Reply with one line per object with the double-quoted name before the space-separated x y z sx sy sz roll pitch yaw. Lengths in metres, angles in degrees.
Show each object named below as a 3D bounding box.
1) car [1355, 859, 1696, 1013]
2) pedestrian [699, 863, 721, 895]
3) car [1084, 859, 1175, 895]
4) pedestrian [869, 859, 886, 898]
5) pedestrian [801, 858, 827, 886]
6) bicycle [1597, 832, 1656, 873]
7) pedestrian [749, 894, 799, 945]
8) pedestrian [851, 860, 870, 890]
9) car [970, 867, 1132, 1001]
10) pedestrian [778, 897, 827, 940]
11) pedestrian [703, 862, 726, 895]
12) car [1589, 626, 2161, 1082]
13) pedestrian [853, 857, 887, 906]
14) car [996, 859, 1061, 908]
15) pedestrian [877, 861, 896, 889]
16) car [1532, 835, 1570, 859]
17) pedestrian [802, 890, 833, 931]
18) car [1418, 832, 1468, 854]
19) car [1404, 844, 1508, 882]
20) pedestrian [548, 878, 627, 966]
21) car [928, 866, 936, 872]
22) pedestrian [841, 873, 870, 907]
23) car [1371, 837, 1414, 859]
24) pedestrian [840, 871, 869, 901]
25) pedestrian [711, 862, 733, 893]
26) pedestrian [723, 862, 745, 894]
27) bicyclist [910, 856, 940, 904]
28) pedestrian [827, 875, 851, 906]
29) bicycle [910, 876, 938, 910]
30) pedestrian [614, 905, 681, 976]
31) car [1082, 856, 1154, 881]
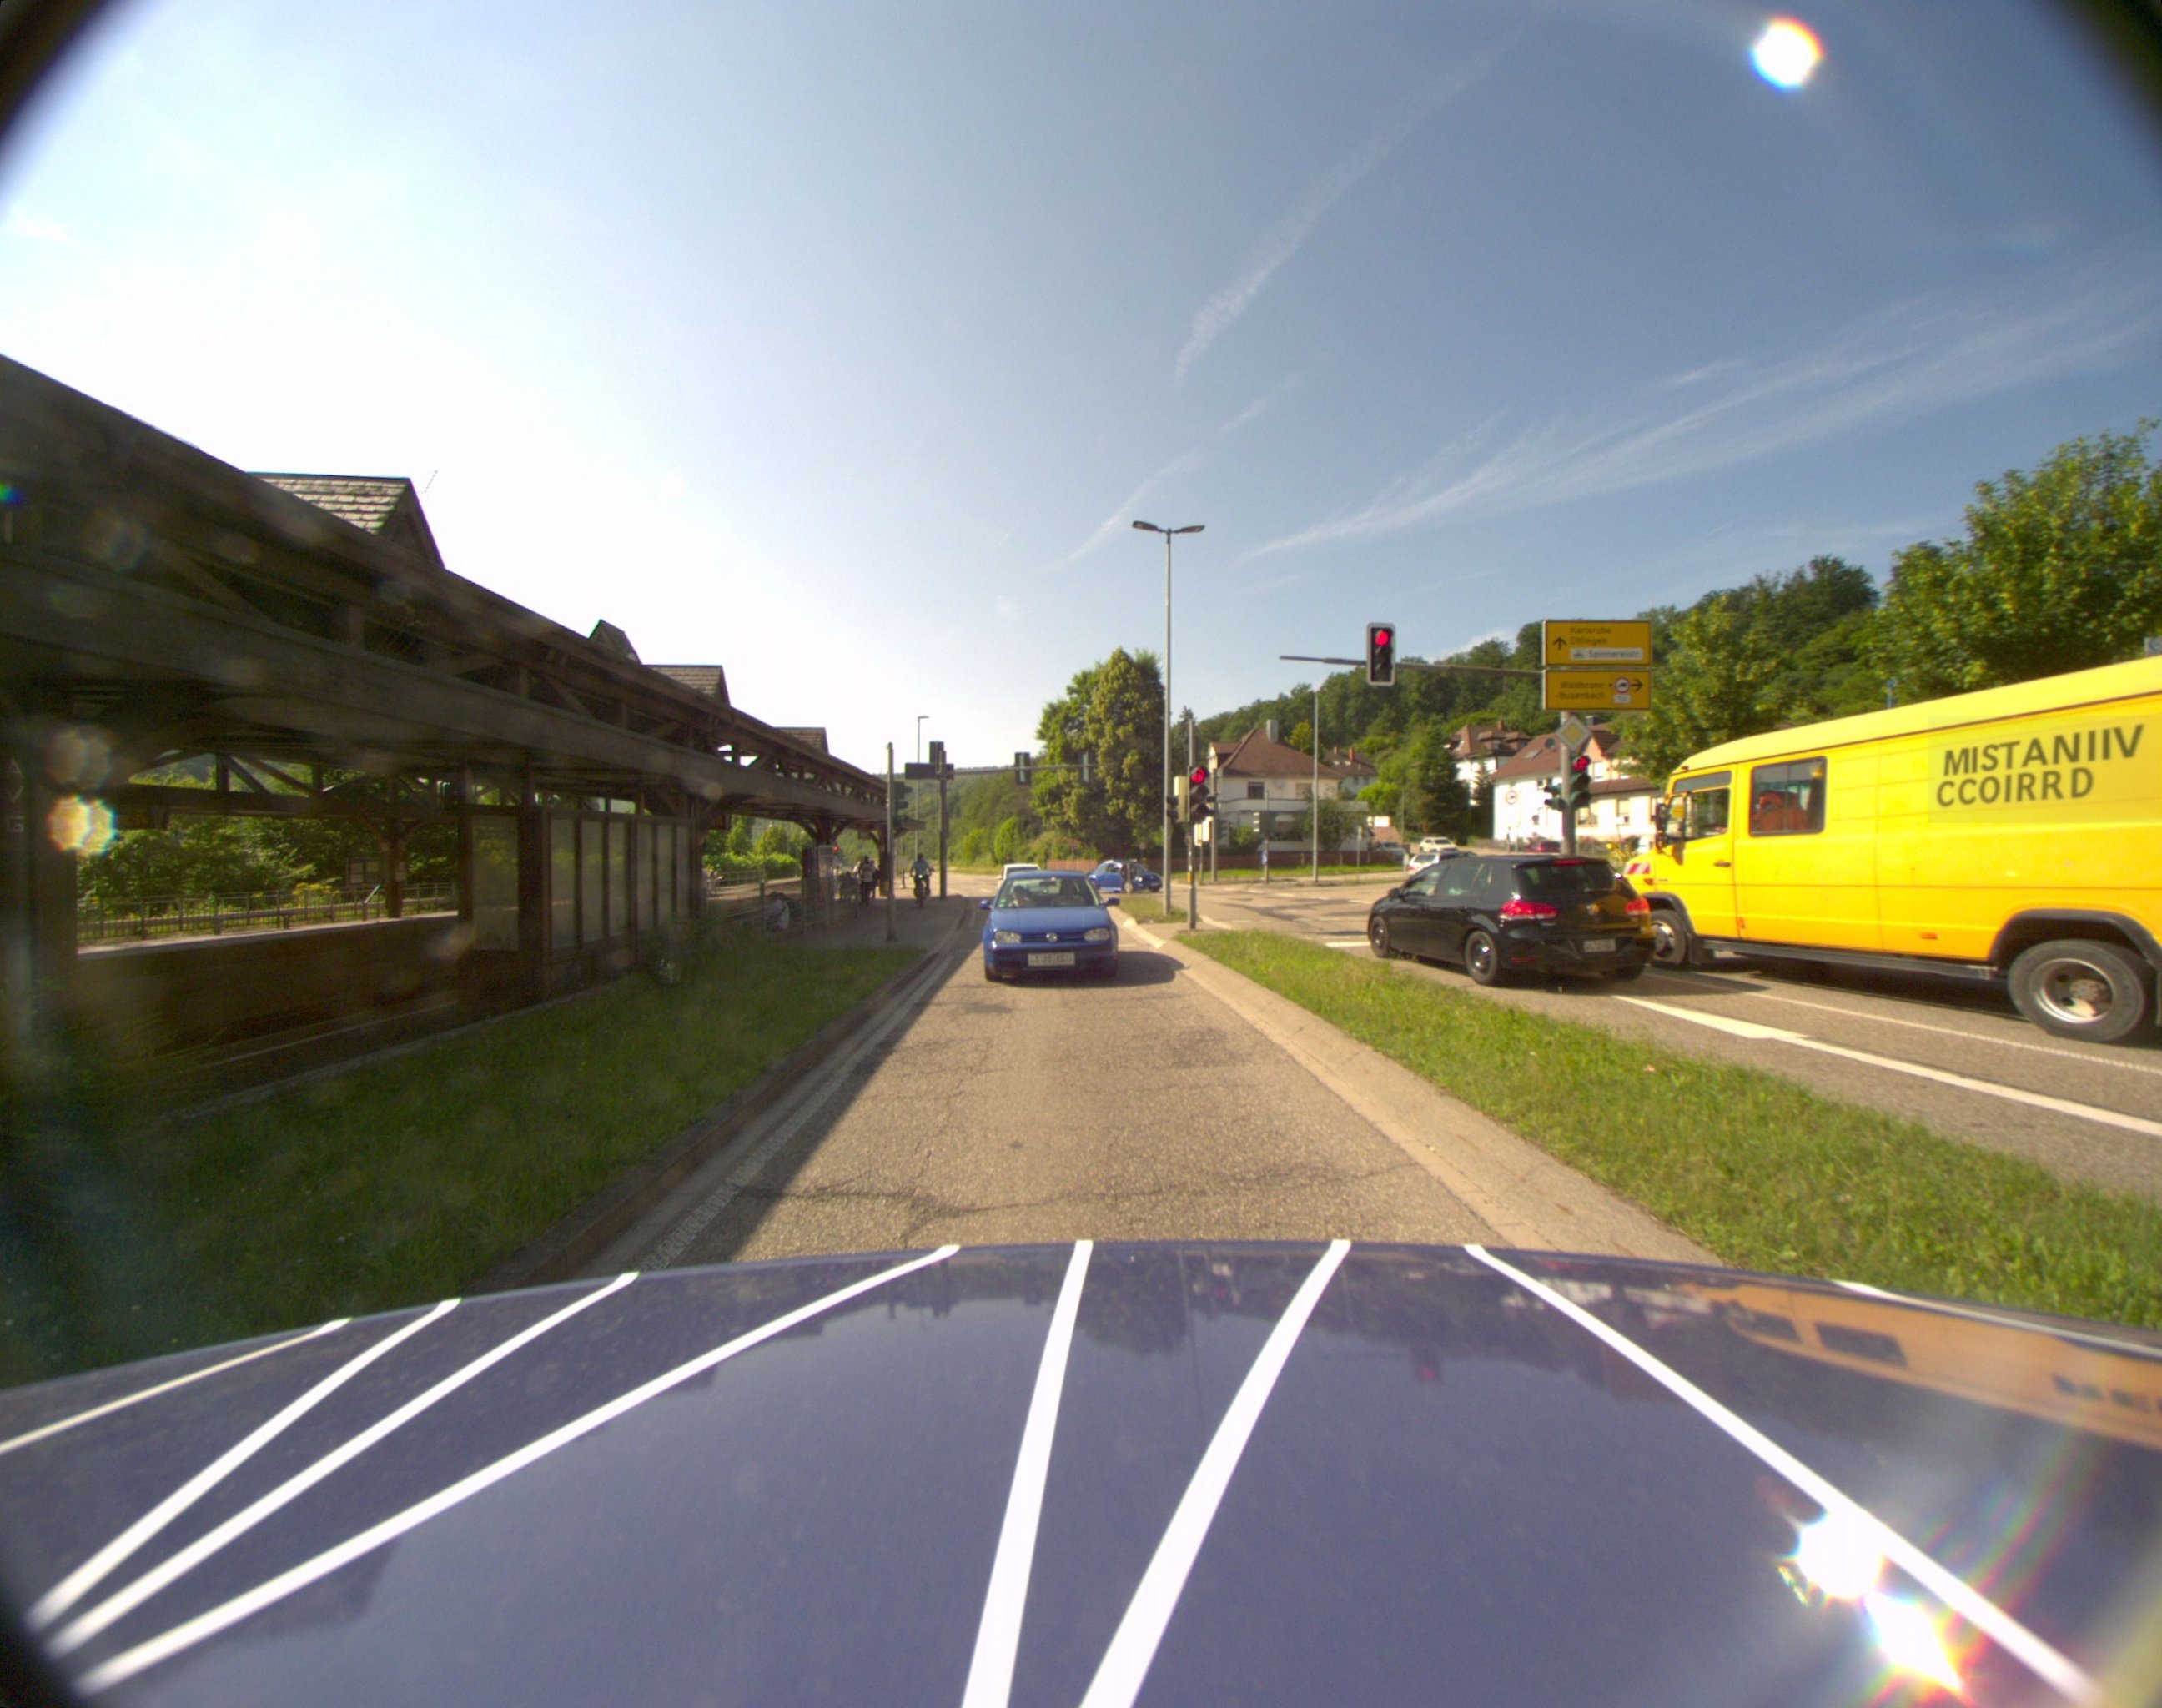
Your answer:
"car" 5.106 0.819 9.482 1.750 1.454 4.042 -1 0 -3
"pedestrian" -21.772 1.473 44.612 0.904 1.838 0.822 -3 -1 -11
"car" 2.206 1.031 35.132 1.984 1.495 3.976 -1 0 -39
"pedestrian" -8.885 1.061 33.148 0.659 1.682 0.738 -1 0 -13
"pedestrian" -16.583 1.101 47.275 0.901 1.674 1.126 -3 -1 29
"bicycle" 18.299 -0.027 25.524 0.620 1.247 1.758 -6 -2 2
"pedestrian" -6.422 1.363 15.907 0.744 0.976 0.769 -3 -1 -7
"pedestrian" -12.668 1.186 43.659 0.823 1.674 0.902 -3 -1 -24
"car" -0.475 0.966 11.065 1.865 1.474 4.300 -1 0 -4
"pedestrian" -6.361 1.462 17.397 0.847 0.869 0.807 -3 -1 -7
"pedestrian" -21.033 1.416 43.644 0.904 1.838 0.822 -3 -1 -11
"car" 8.229 -0.043 6.973 2.474 2.993 6.464 -3 0 -3
"pedestrian" -7.703 0.998 27.786 0.916 1.726 1.251 -3 -1 -6
"car" -1.996 1.013 27.753 2.000 1.575 3.997 -3 0 -9
"pedestrian" -12.385 1.333 48.307 0.824 1.674 0.902 -3 -1 -35
"car" 33.104 -0.477 53.606 1.658 1.525 3.961 -2 -1 23
"pedestrian" -6.553 1.393 18.926 0.619 0.960 0.406 -3 -1 -7
"car" 29.924 -0.878 62.939 1.999 1.597 4.000 -3 -1 -2
"car" 17.181 0.401 34.738 4.758 1.495 1.976 -2 -1 -31
"pedestrian" -9.035 1.215 13.943 0.863 1.538 0.922 -1 -1 -5
"car" -41.469 4.152 211.696 2.000 1.739 3.998 -3 -1 -9
"pedestrian" -8.687 1.368 29.279 0.994 1.228 0.596 -3 -1 -14
"car" 25.826 -0.493 63.150 1.939 1.627 4.001 -3 -1 2
"pedestrian" -9.080 1.271 30.456 1.010 1.153 0.947 -2 1 -13
"pedestrian" -21.730 1.407 45.987 0.904 1.838 0.822 -3 -1 -11
"pedestrian" -20.662 1.426 45.277 0.904 1.838 0.822 -3 -1 -11
"bicyclist" -5.389 0.884 26.229 0.787 1.559 0.947 -3 1 -2
"pedestrian" -14.956 2.245 47.000 0.989 1.831 1.074 -2 -1 8
"bicycle" -5.379 1.309 26.162 0.603 1.049 1.813 -3 0 -3
"pedestrian" -7.435 1.471 13.062 0.744 1.110 0.667 -3 -1 -7
"car" 2.494 0.999 51.769 1.985 1.475 4.738 -2 -1 -44
